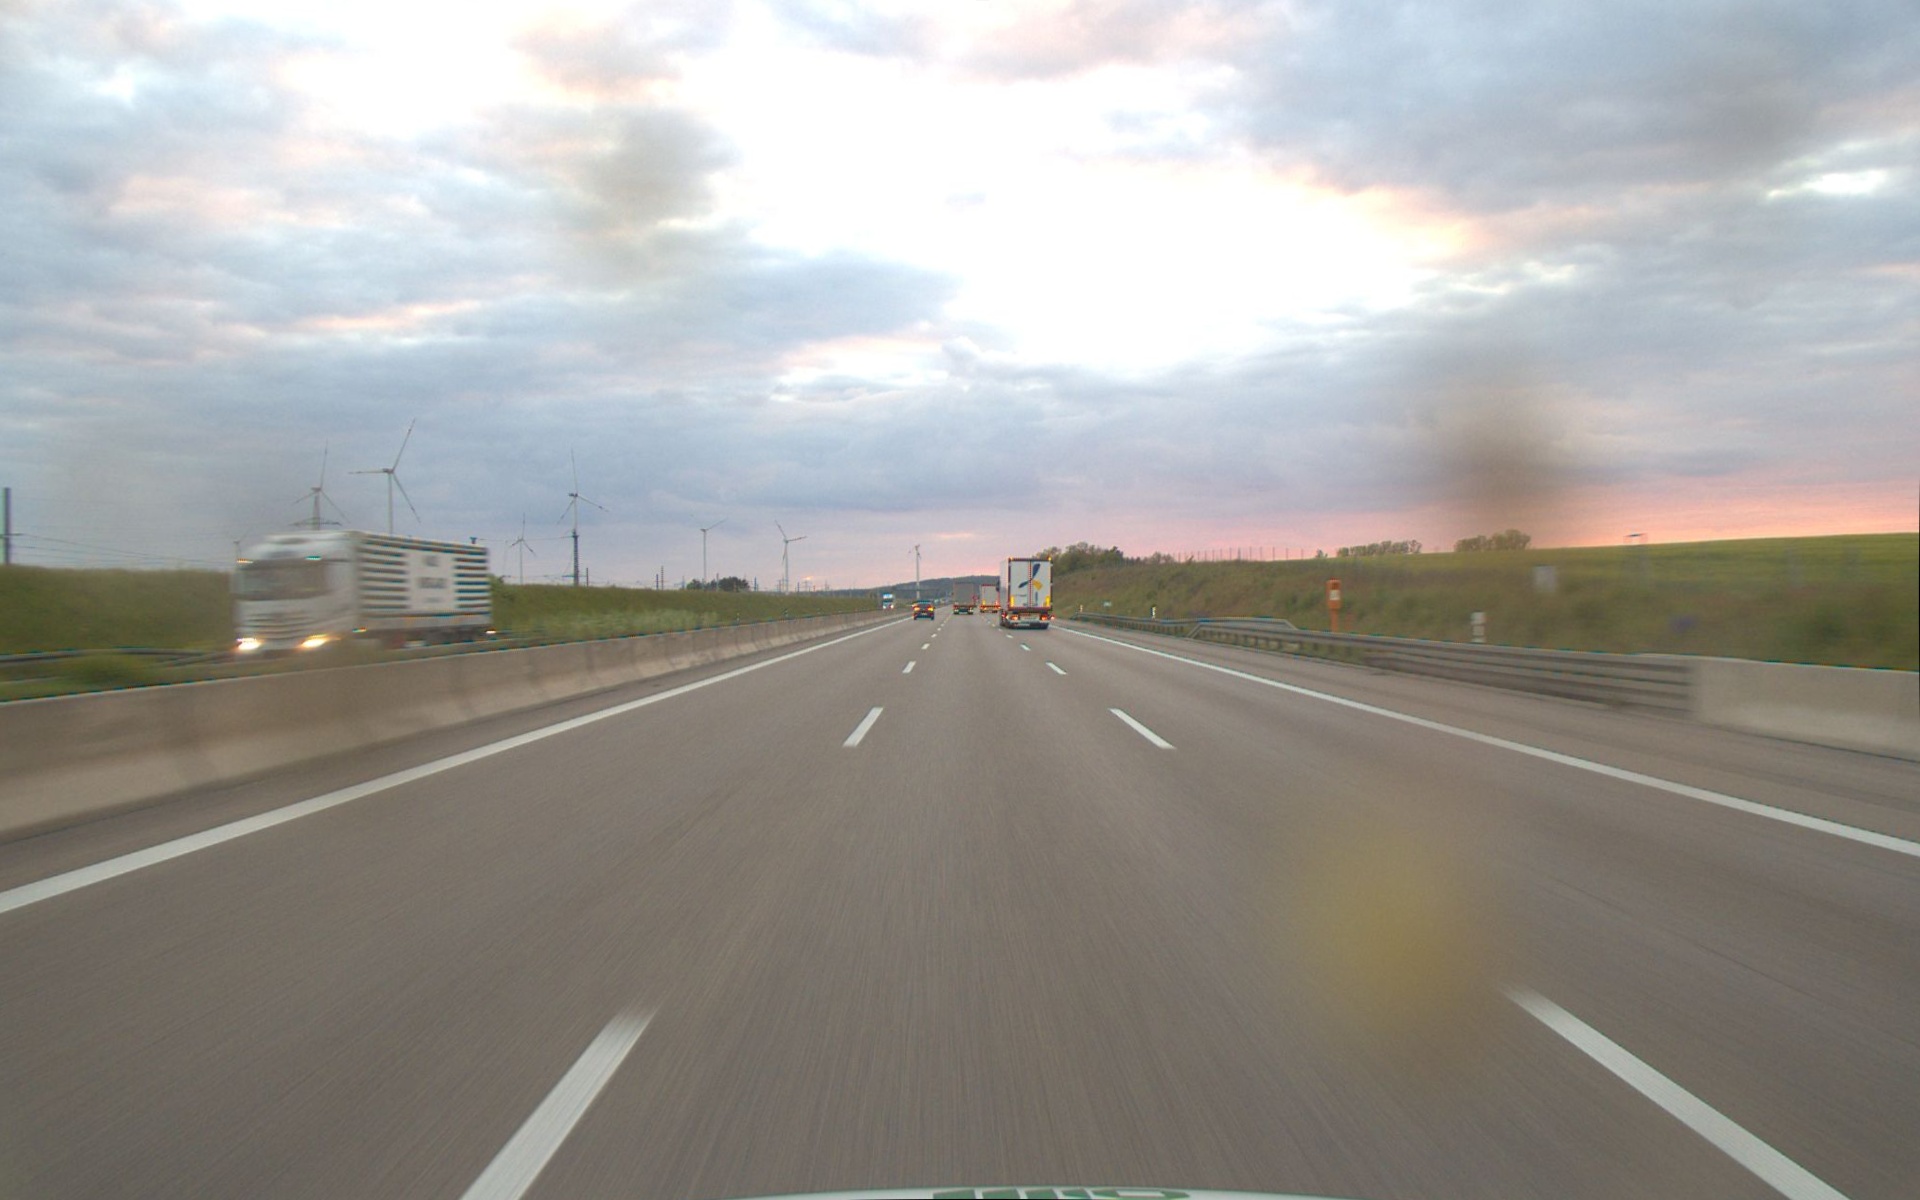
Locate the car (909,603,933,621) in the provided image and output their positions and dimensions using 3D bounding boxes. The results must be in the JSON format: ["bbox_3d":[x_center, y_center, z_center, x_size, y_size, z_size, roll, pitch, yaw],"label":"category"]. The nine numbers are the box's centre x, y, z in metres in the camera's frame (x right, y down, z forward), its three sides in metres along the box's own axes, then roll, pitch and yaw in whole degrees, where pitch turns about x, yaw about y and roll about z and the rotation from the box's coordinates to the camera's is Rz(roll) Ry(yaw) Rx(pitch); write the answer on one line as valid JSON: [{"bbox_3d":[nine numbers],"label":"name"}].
[{"bbox_3d":[-3.333,0.986,141.895,1.947,1.454,4.000,-1,0,0],"label":"car"}]

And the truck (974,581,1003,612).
[{"bbox_3d":[4.137,-0.515,245.121,3.885,4.491,8.633,-1,0,-1],"label":"truck"}]

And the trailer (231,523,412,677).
[{"bbox_3d":[-18.956,0.005,49.615,2.632,4.186,6.937,-2,0,0],"label":"trailer"}]

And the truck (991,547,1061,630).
[{"bbox_3d":[3.835,-0.643,99.544,3.600,4.644,10.979,-1,0,0],"label":"truck"}]

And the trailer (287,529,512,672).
[{"bbox_3d":[-19.007,0.050,57.591,2.632,4.186,15.107,-2,0,0],"label":"trailer"}]

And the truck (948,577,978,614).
[{"bbox_3d":[0.337,-0.554,209.933,3.573,4.491,8.635,-1,0,0],"label":"truck"}]
